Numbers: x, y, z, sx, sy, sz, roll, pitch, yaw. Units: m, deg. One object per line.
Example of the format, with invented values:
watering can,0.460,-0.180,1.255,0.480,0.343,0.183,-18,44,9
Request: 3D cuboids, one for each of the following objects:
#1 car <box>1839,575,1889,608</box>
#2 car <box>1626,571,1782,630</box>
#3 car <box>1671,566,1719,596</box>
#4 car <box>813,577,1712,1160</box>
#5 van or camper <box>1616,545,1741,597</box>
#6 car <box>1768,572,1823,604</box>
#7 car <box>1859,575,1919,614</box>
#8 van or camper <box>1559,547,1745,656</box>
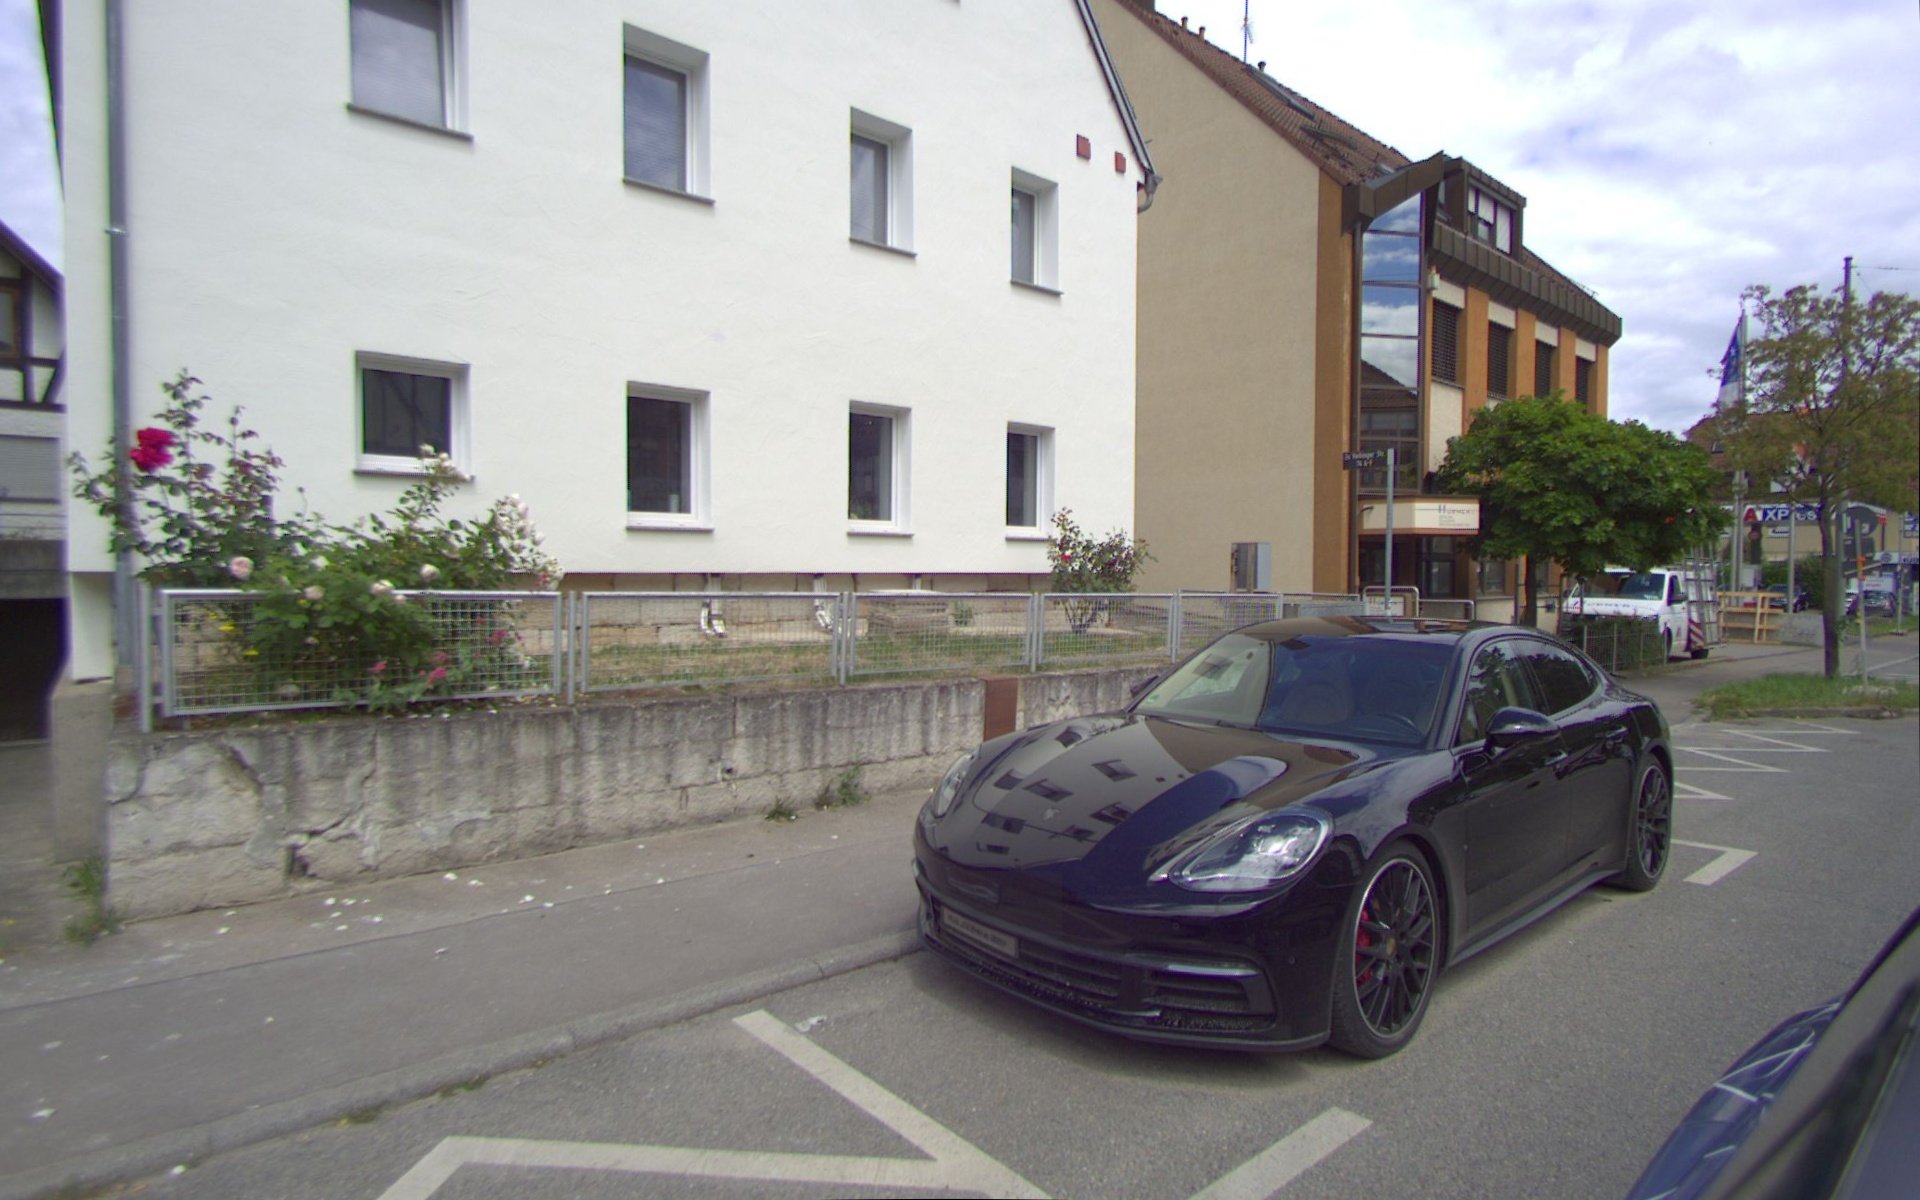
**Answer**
car,49.475,-0.490,55.336,4.135,1.546,1.637,-2,6,-44
car,24.441,-0.042,33.458,1.603,1.650,4.326,2,3,-5
car,44.095,-1.162,60.690,3.685,1.604,1.639,-2,6,-43
car,1.808,0.646,4.899,4.669,1.466,1.988,-2,2,-41
van or camper,45.693,-1.912,64.461,2.490,2.884,5.969,-1,5,-43
car,46.809,-0.703,56.676,4.578,1.560,1.715,-2,6,-43
car,43.711,-0.301,47.331,4.083,1.614,1.621,-1,7,-38
van or camper,14.534,-0.019,21.161,4.464,2.057,1.872,-2,0,-37
